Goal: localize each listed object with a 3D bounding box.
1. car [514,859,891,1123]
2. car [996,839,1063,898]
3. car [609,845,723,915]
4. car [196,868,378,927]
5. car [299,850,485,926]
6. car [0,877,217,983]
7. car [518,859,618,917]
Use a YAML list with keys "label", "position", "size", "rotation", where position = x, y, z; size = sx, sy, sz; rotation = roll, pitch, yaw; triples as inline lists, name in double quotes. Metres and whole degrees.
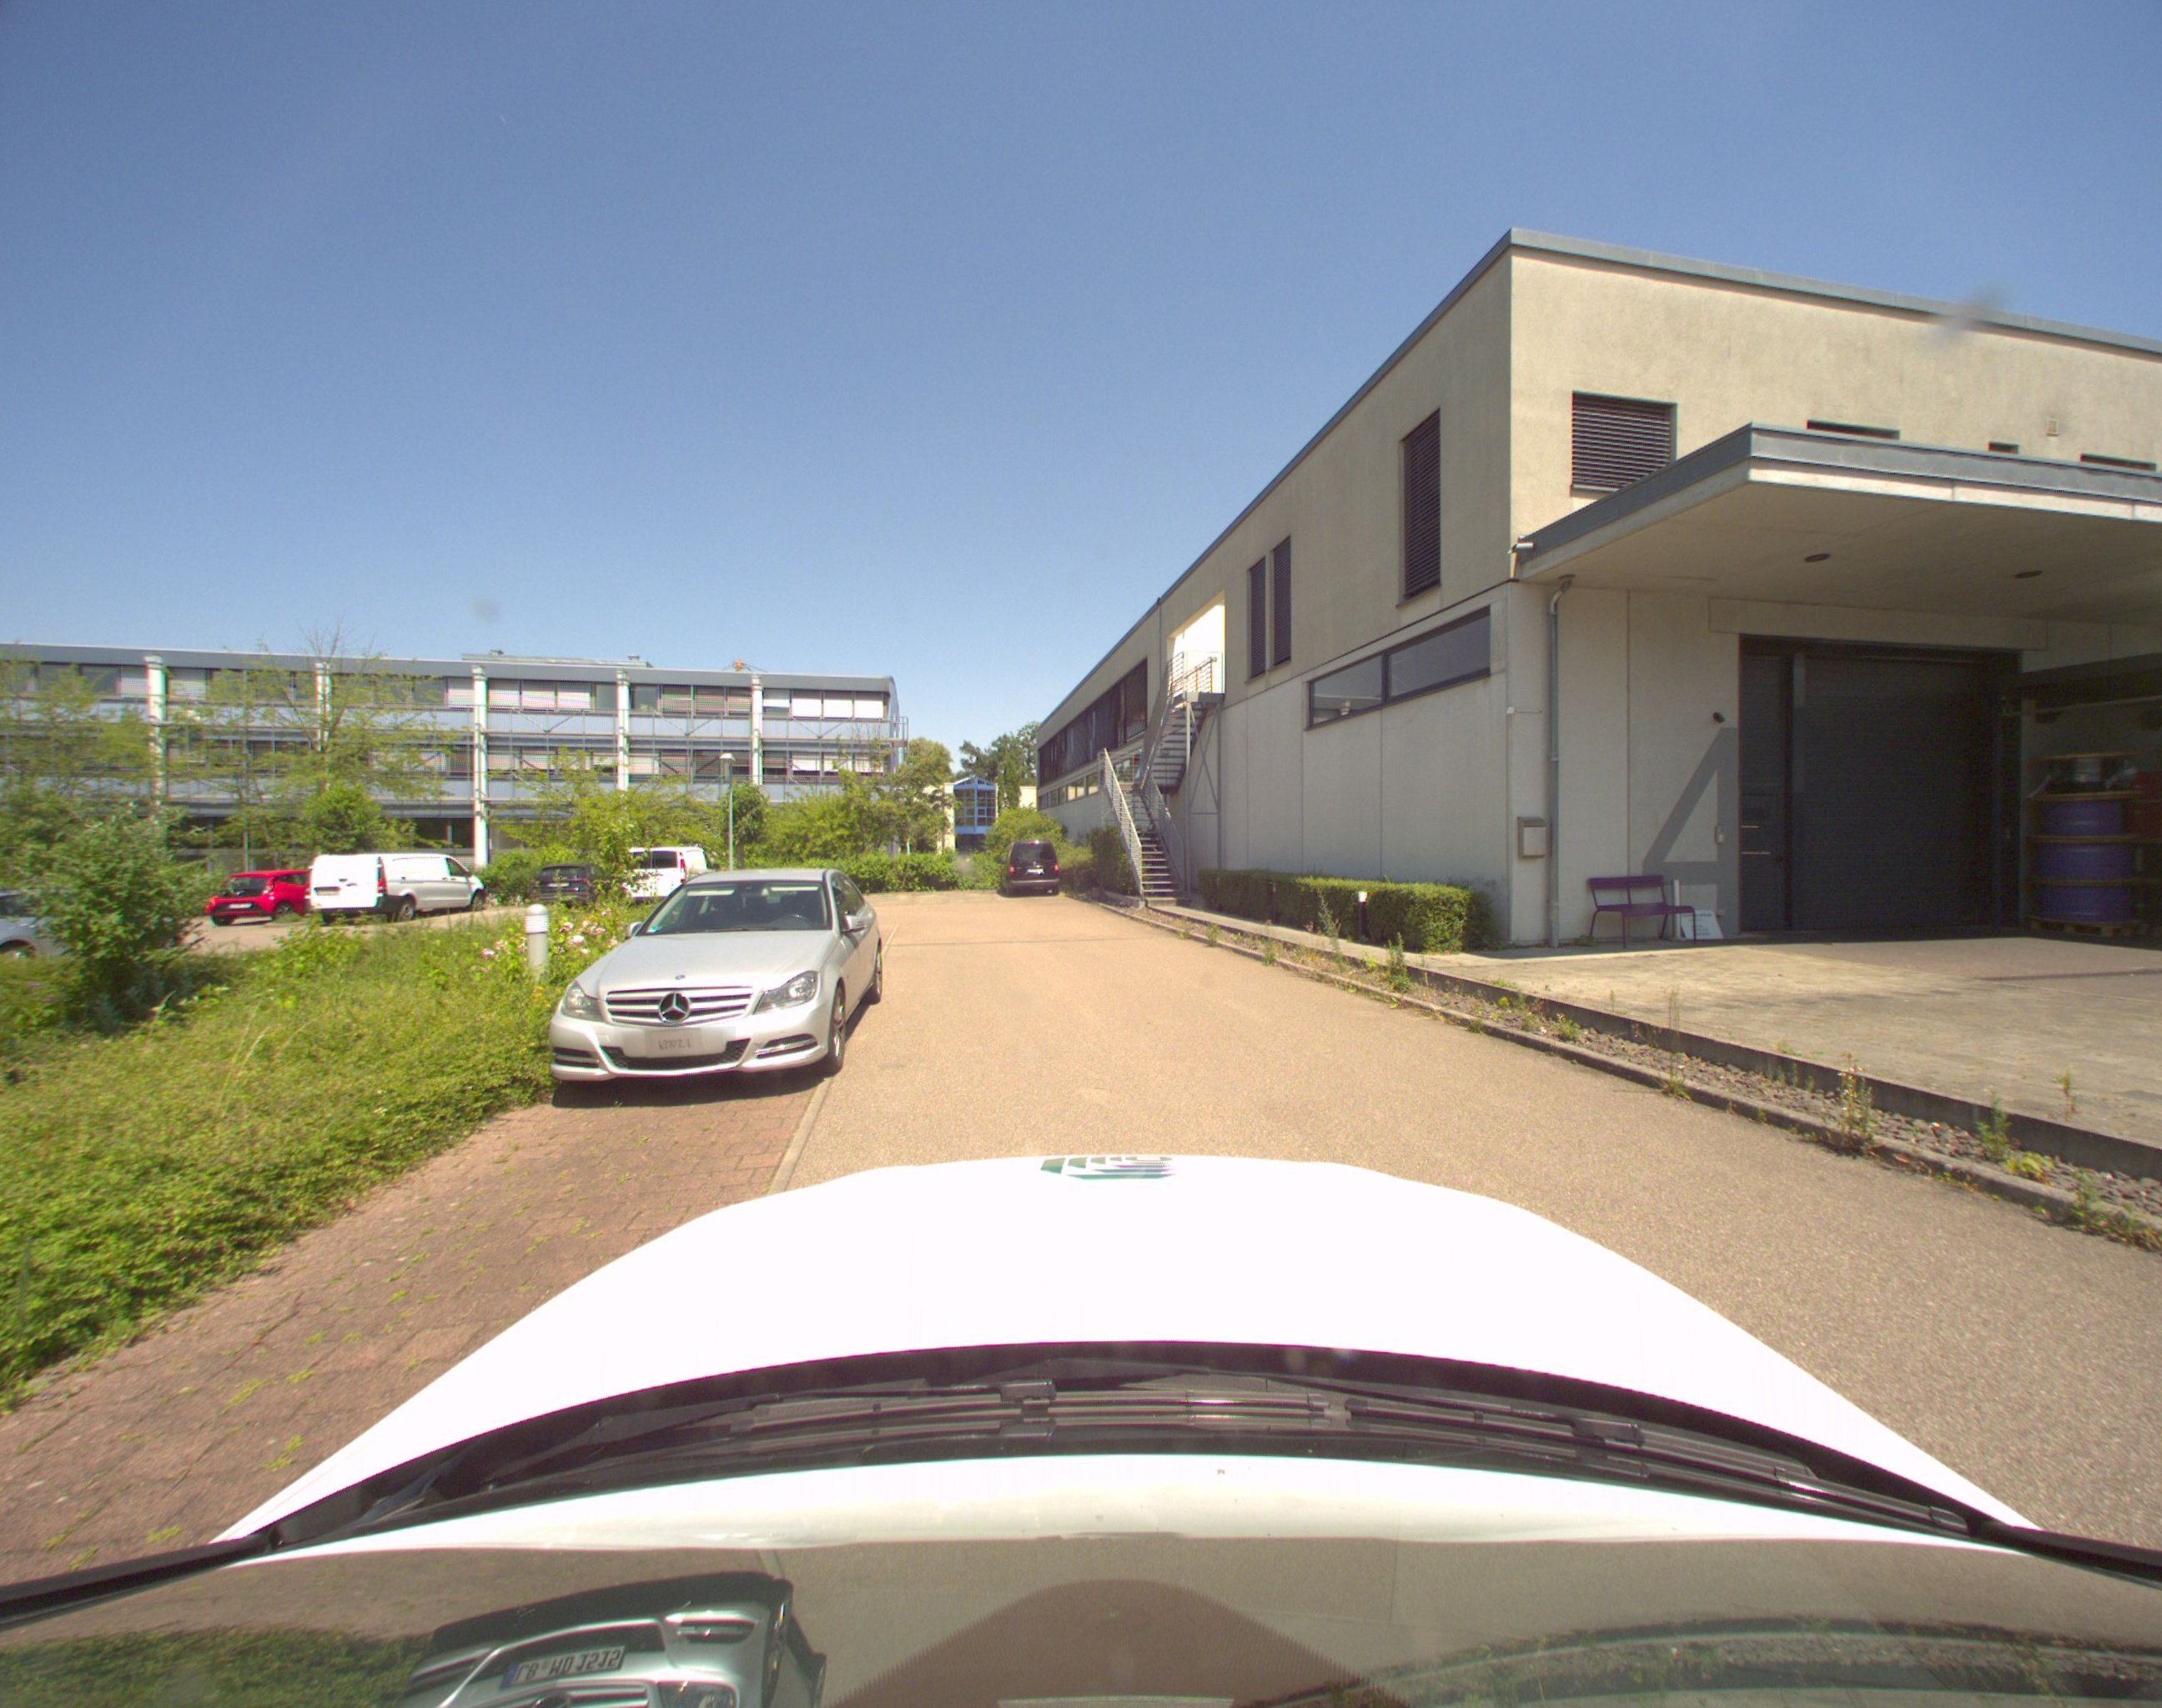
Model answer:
- label: "car"
  position: [-2.695, 0.801, 6.887]
  size: [1.728, 1.457, 4.136]
  rotation: [-2, 0, -8]
- label: "car"
  position: [-1.846, 0.437, 28.161]
  size: [1.744, 1.837, 3.984]
  rotation: [-2, 1, -12]
- label: "car"
  position: [-12.683, 0.696, 25.240]
  size: [1.915, 1.905, 4.788]
  rotation: [-2, 1, -12]
- label: "car"
  position: [-23.091, 1.201, 23.923]
  size: [1.782, 1.441, 3.988]
  rotation: [-1, 1, -9]
- label: "car"
  position: [-19.724, 0.871, 23.650]
  size: [1.882, 1.891, 4.787]
  rotation: [-1, 1, -10]
- label: "car"
  position: [-17.653, 1.227, 13.799]
  size: [1.858, 1.472, 4.466]
  rotation: [-1, 1, -12]
- label: "car"
  position: [-15.505, 0.960, 24.822]
  size: [1.760, 1.476, 3.973]
  rotation: [-2, 1, -21]
